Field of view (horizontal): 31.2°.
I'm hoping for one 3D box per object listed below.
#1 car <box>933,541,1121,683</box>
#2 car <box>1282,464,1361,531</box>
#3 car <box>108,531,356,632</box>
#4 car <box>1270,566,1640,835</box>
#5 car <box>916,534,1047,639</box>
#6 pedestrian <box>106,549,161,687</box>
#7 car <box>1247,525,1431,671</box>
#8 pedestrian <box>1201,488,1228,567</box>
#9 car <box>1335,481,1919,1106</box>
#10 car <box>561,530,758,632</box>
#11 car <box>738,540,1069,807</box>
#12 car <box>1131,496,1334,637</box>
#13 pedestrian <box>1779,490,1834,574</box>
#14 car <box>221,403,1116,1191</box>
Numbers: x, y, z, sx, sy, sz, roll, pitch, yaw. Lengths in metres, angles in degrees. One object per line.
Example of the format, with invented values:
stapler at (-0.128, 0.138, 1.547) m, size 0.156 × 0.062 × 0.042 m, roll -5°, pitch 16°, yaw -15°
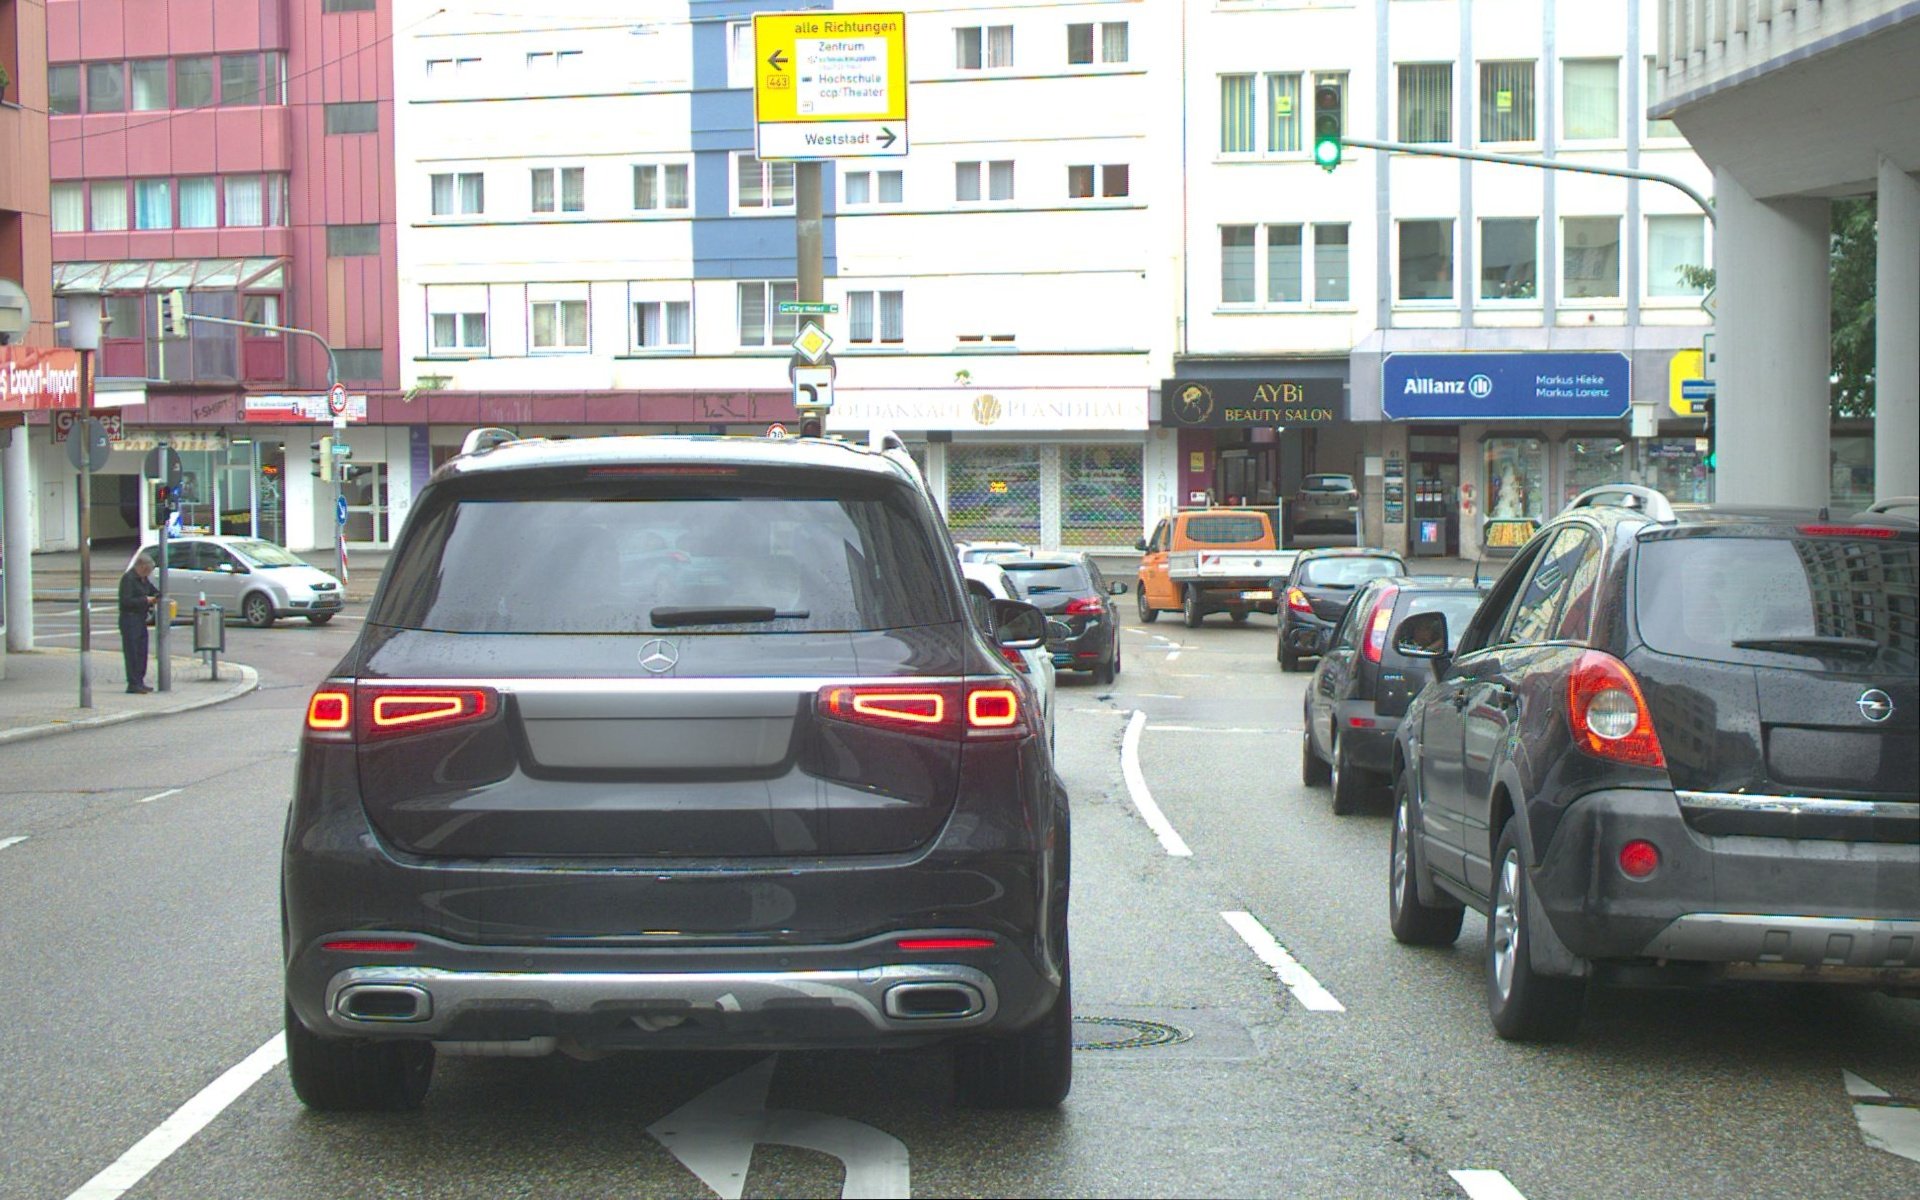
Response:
car at (0.707, 0.093, 38.813) m, size 1.993 × 1.481 × 4.237 m, roll -1°, pitch 1°, yaw 0°
car at (9.242, -2.595, 87.697) m, size 1.797 × 1.664 × 3.999 m, roll -1°, pitch 1°, yaw 8°
car at (-13.015, -0.358, 61.397) m, size 4.168 × 1.587 × 1.738 m, roll 3°, pitch 3°, yaw 28°
car at (2.995, 0.553, 21.565) m, size 1.767 × 1.392 × 4.000 m, roll 3°, pitch 1°, yaw 1°
car at (0.309, -0.192, 54.174) m, size 1.924 × 1.510 × 4.663 m, roll 2°, pitch 0°, yaw 0°
pedestrian at (-10.213, 0.218, 42.502) m, size 0.554 × 1.691 × 0.624 m, roll 0°, pitch 1°, yaw -4°
car at (4.591, -0.032, 42.174) m, size 1.823 × 1.653 × 4.495 m, roll 1°, pitch 0°, yaw 1°
pedestrian at (5.619, -1.607, 75.910) m, size 0.564 × 1.683 × 0.756 m, roll 0°, pitch 7°, yaw 6°
car at (2.574, 0.517, 11.818) m, size 1.897 × 1.689 × 4.506 m, roll 3°, pitch 1°, yaw -1°
car at (-6.051, -0.399, 68.843) m, size 1.994 × 1.831 × 4.175 m, roll 2°, pitch 1°, yaw -36°
car at (-0.298, 0.384, 21.907) m, size 1.873 × 1.489 × 4.400 m, roll 1°, pitch 1°, yaw 1°
car at (4.522, -0.580, 57.966) m, size 2.242 × 2.220 × 5.430 m, roll 1°, pitch 1°, yaw -8°
pedestrian at (17.706, -1.425, 71.944) m, size 1.030 × 1.683 × 0.830 m, roll 0°, pitch 7°, yaw 9°
car at (-0.749, 0.415, 10.282) m, size 2.038 × 1.793 × 4.663 m, roll 1°, pitch 1°, yaw -2°
